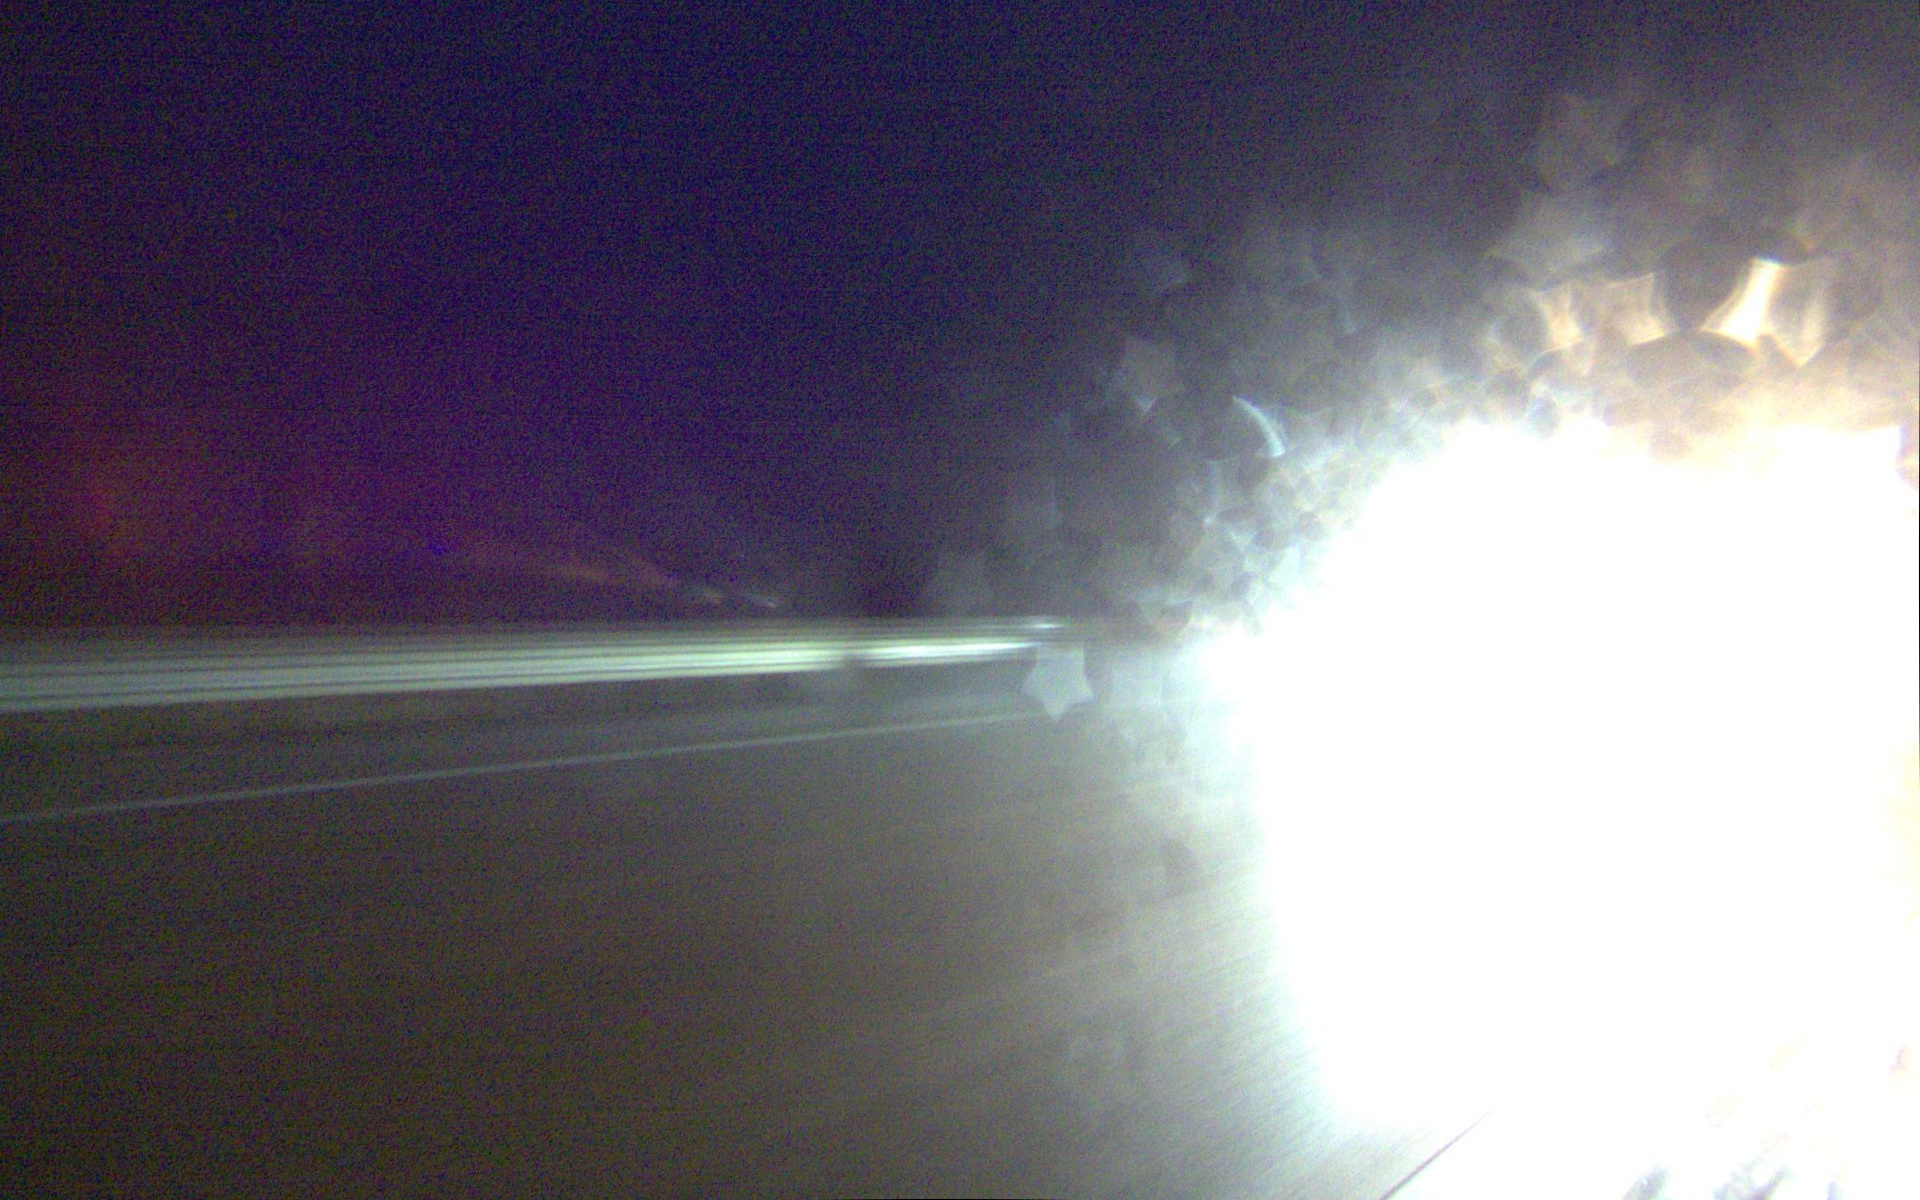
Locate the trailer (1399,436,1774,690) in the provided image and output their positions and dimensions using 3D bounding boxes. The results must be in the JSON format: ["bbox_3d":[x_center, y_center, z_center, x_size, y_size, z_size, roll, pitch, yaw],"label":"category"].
[{"bbox_3d":[14.515,-0.627,22.383,14.234,4.159,2.909,0,2,-41],"label":"trailer"}]

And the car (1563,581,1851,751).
[{"bbox_3d":[8.701,0.607,11.636,4.415,1.595,1.744,0,1,-41],"label":"car"}]

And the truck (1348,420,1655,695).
[{"bbox_3d":[9.948,-0.681,18.361,5.925,4.159,2.909,1,2,-41],"label":"truck"}]
